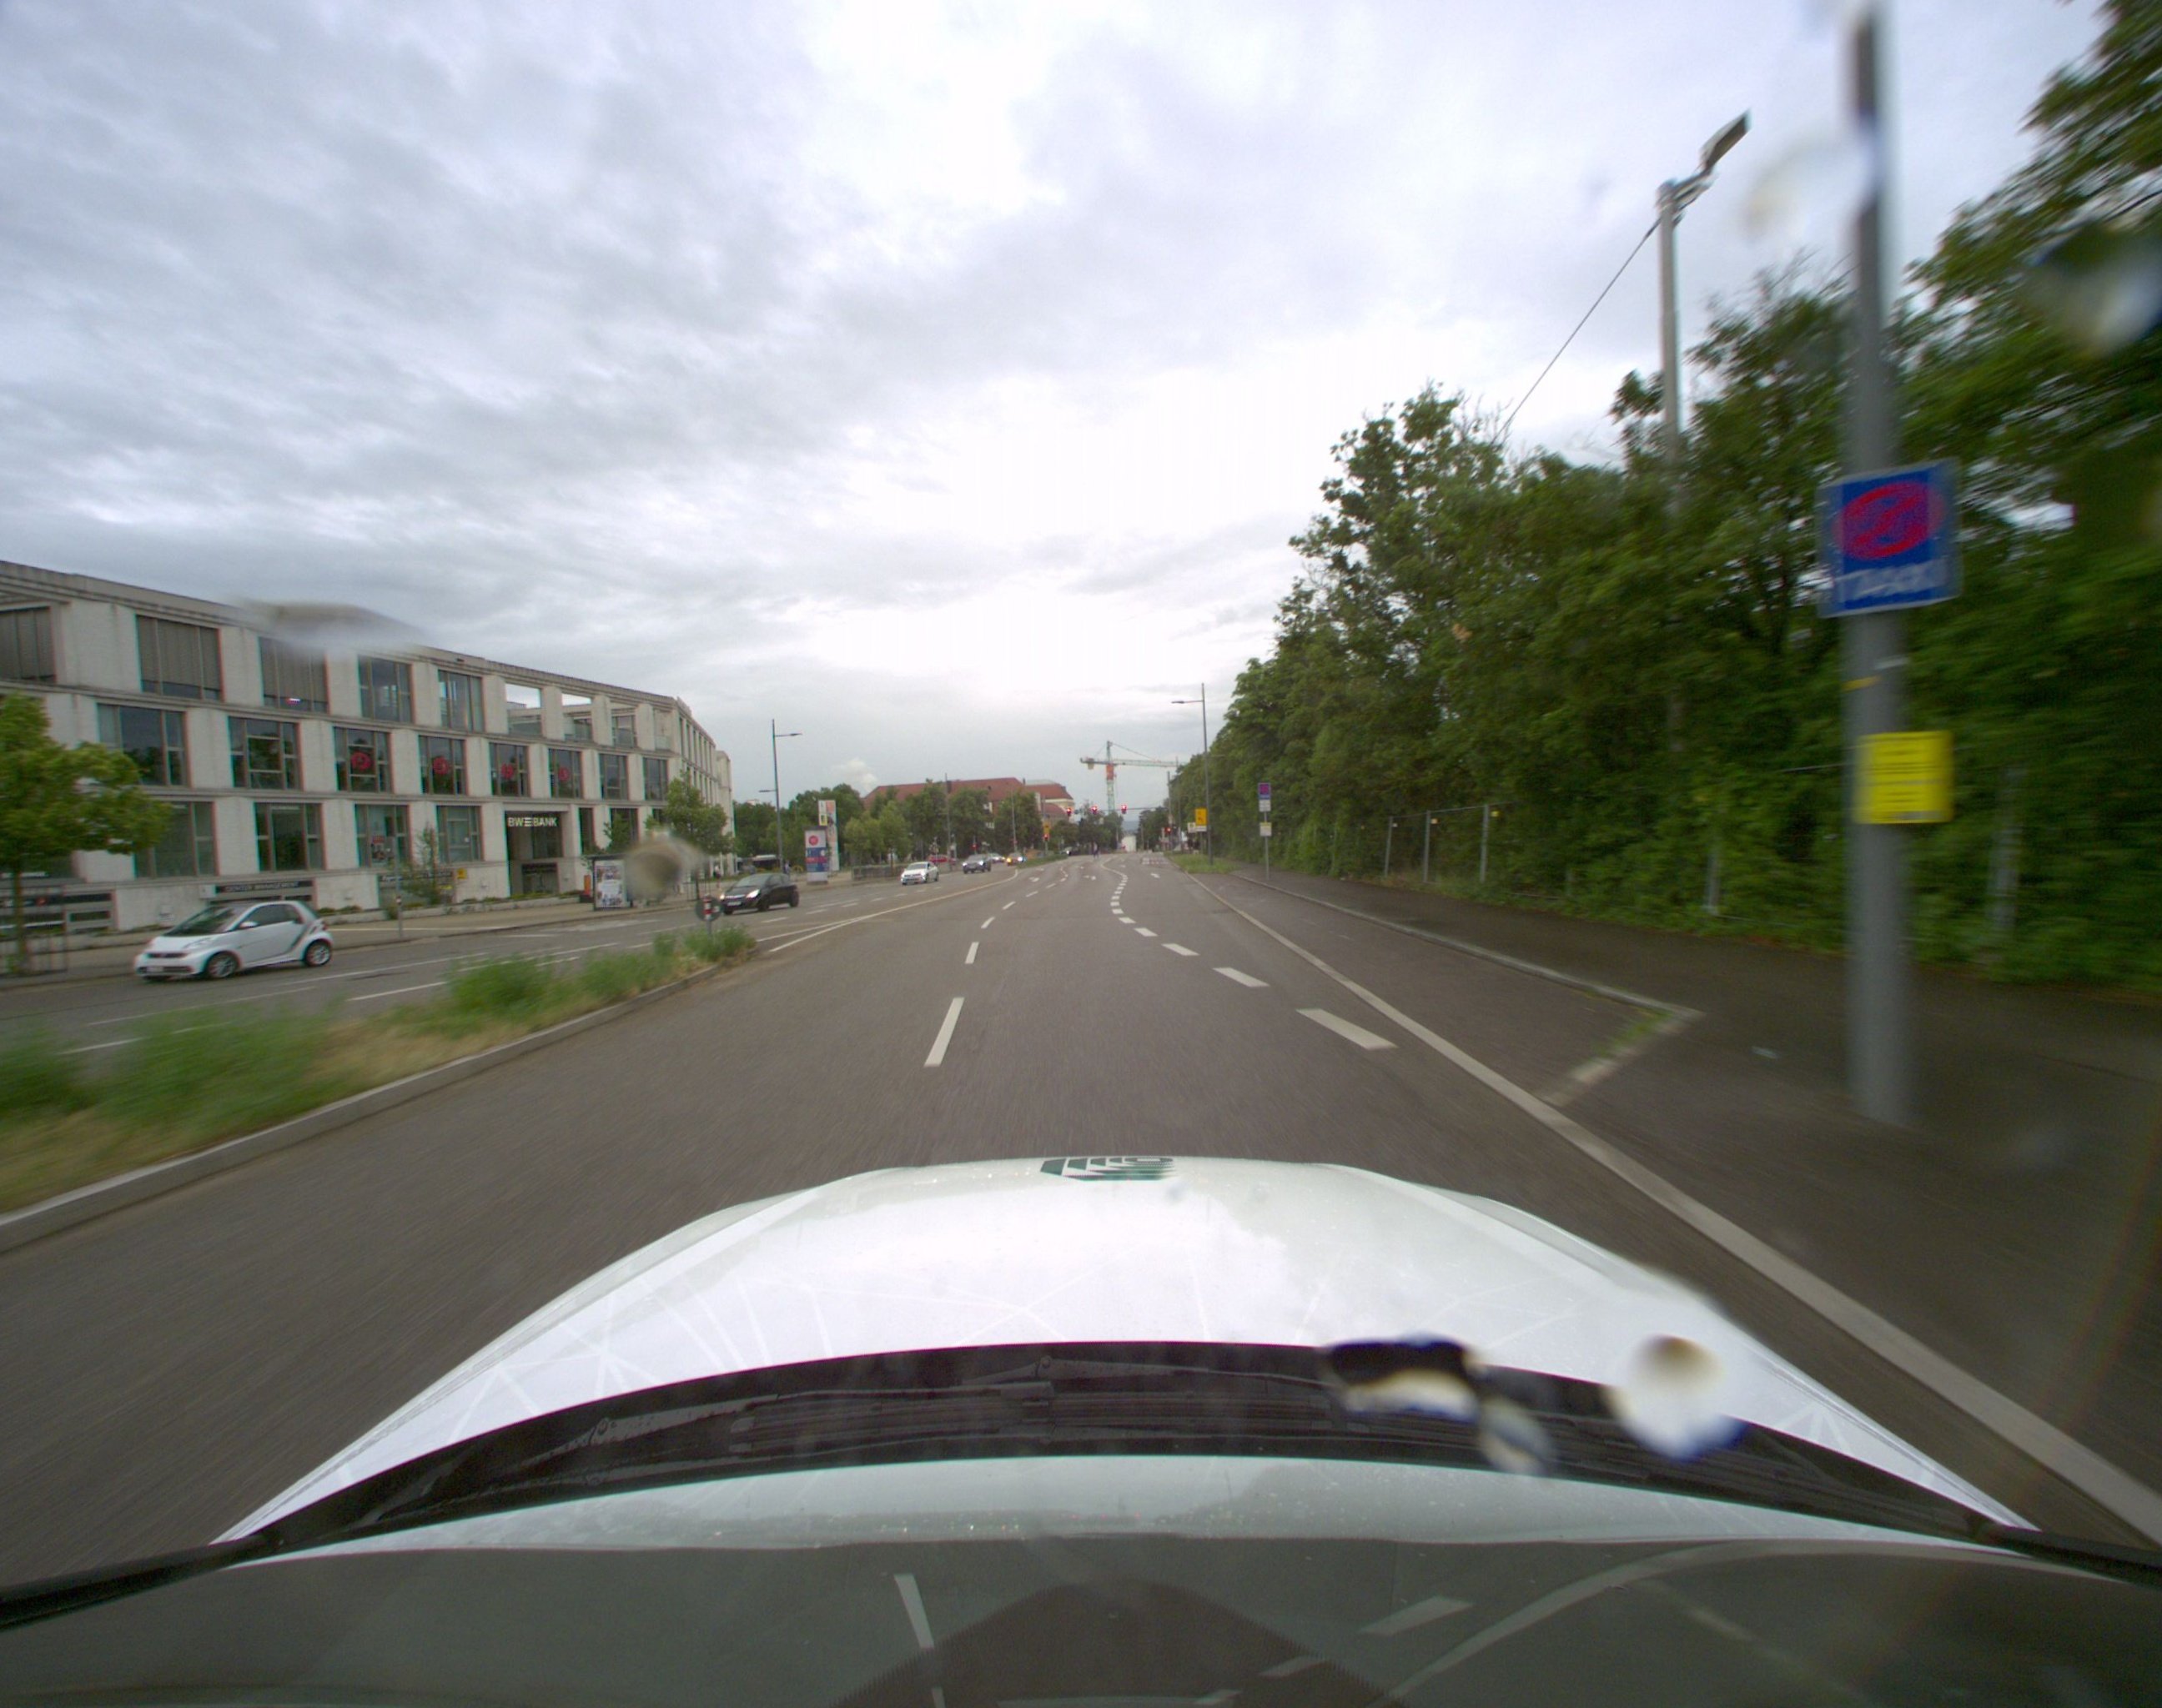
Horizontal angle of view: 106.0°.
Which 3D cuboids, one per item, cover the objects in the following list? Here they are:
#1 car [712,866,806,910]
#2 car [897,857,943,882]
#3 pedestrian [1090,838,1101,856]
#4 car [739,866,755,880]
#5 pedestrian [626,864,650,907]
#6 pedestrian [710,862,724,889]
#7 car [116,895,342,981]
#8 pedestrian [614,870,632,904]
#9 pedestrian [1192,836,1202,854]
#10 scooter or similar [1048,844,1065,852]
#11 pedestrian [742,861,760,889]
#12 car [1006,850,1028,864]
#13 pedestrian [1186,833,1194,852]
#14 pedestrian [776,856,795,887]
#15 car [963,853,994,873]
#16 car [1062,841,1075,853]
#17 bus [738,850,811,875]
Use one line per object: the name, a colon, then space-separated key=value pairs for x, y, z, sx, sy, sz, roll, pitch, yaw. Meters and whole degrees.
car: x=-12.600 y=1.295 z=32.184 sx=1.838 sy=1.462 sz=3.872 roll=-4 pitch=0 yaw=4
car: x=-10.975 y=1.026 z=55.742 sx=1.865 sy=1.429 sz=4.181 roll=-6 pitch=0 yaw=4
pedestrian: x=1.700 y=-0.791 z=95.411 sx=0.934 sy=2.013 sz=0.849 roll=-6 pitch=0 yaw=10
car: x=-44.631 y=2.471 z=108.792 sx=1.781 sy=1.731 sz=3.969 roll=-4 pitch=1 yaw=-23
pedestrian: x=-19.674 y=1.397 z=36.190 sx=0.505 sy=1.842 sz=0.756 roll=-3 pitch=0 yaw=4
pedestrian: x=-23.033 y=1.352 z=51.531 sx=0.497 sy=1.690 sz=0.912 roll=-3 pitch=0 yaw=-12
car: x=-18.168 y=1.738 z=17.554 sx=1.606 sy=1.508 sz=2.976 roll=-2 pitch=0 yaw=4
pedestrian: x=-23.894 y=1.718 z=42.495 sx=0.522 sy=1.725 sz=0.567 roll=-3 pitch=0 yaw=6
pedestrian: x=11.046 y=-0.832 z=77.635 sx=0.674 sy=1.657 sz=0.793 roll=-4 pitch=1 yaw=-1
scooter or similar: x=-4.757 y=-1.180 z=155.981 sx=3.075 sy=1.440 sz=0.949 roll=-4 pitch=1 yaw=2
pedestrian: x=-20.903 y=1.319 z=51.619 sx=0.595 sy=1.762 sz=0.859 roll=-3 pitch=0 yaw=7
car: x=-7.543 y=0.321 z=96.339 sx=1.823 sy=1.416 sz=4.471 roll=-6 pitch=1 yaw=4
pedestrian: x=10.994 y=-1.178 z=82.177 sx=0.638 sy=1.900 sz=0.718 roll=-4 pitch=1 yaw=-1
pedestrian: x=-17.960 y=1.043 z=49.500 sx=0.749 sy=1.842 sz=0.748 roll=-3 pitch=0 yaw=6
car: x=-9.247 y=0.788 z=73.808 sx=1.823 sy=1.572 sz=4.599 roll=-6 pitch=0 yaw=4
car: x=-2.178 y=-1.154 z=140.272 sx=1.986 sy=1.838 sz=4.001 roll=-1 pitch=-1 yaw=2
bus: x=-45.157 y=1.244 z=120.056 sx=9.673 sy=3.103 sz=2.903 roll=-3 pitch=1 yaw=7
